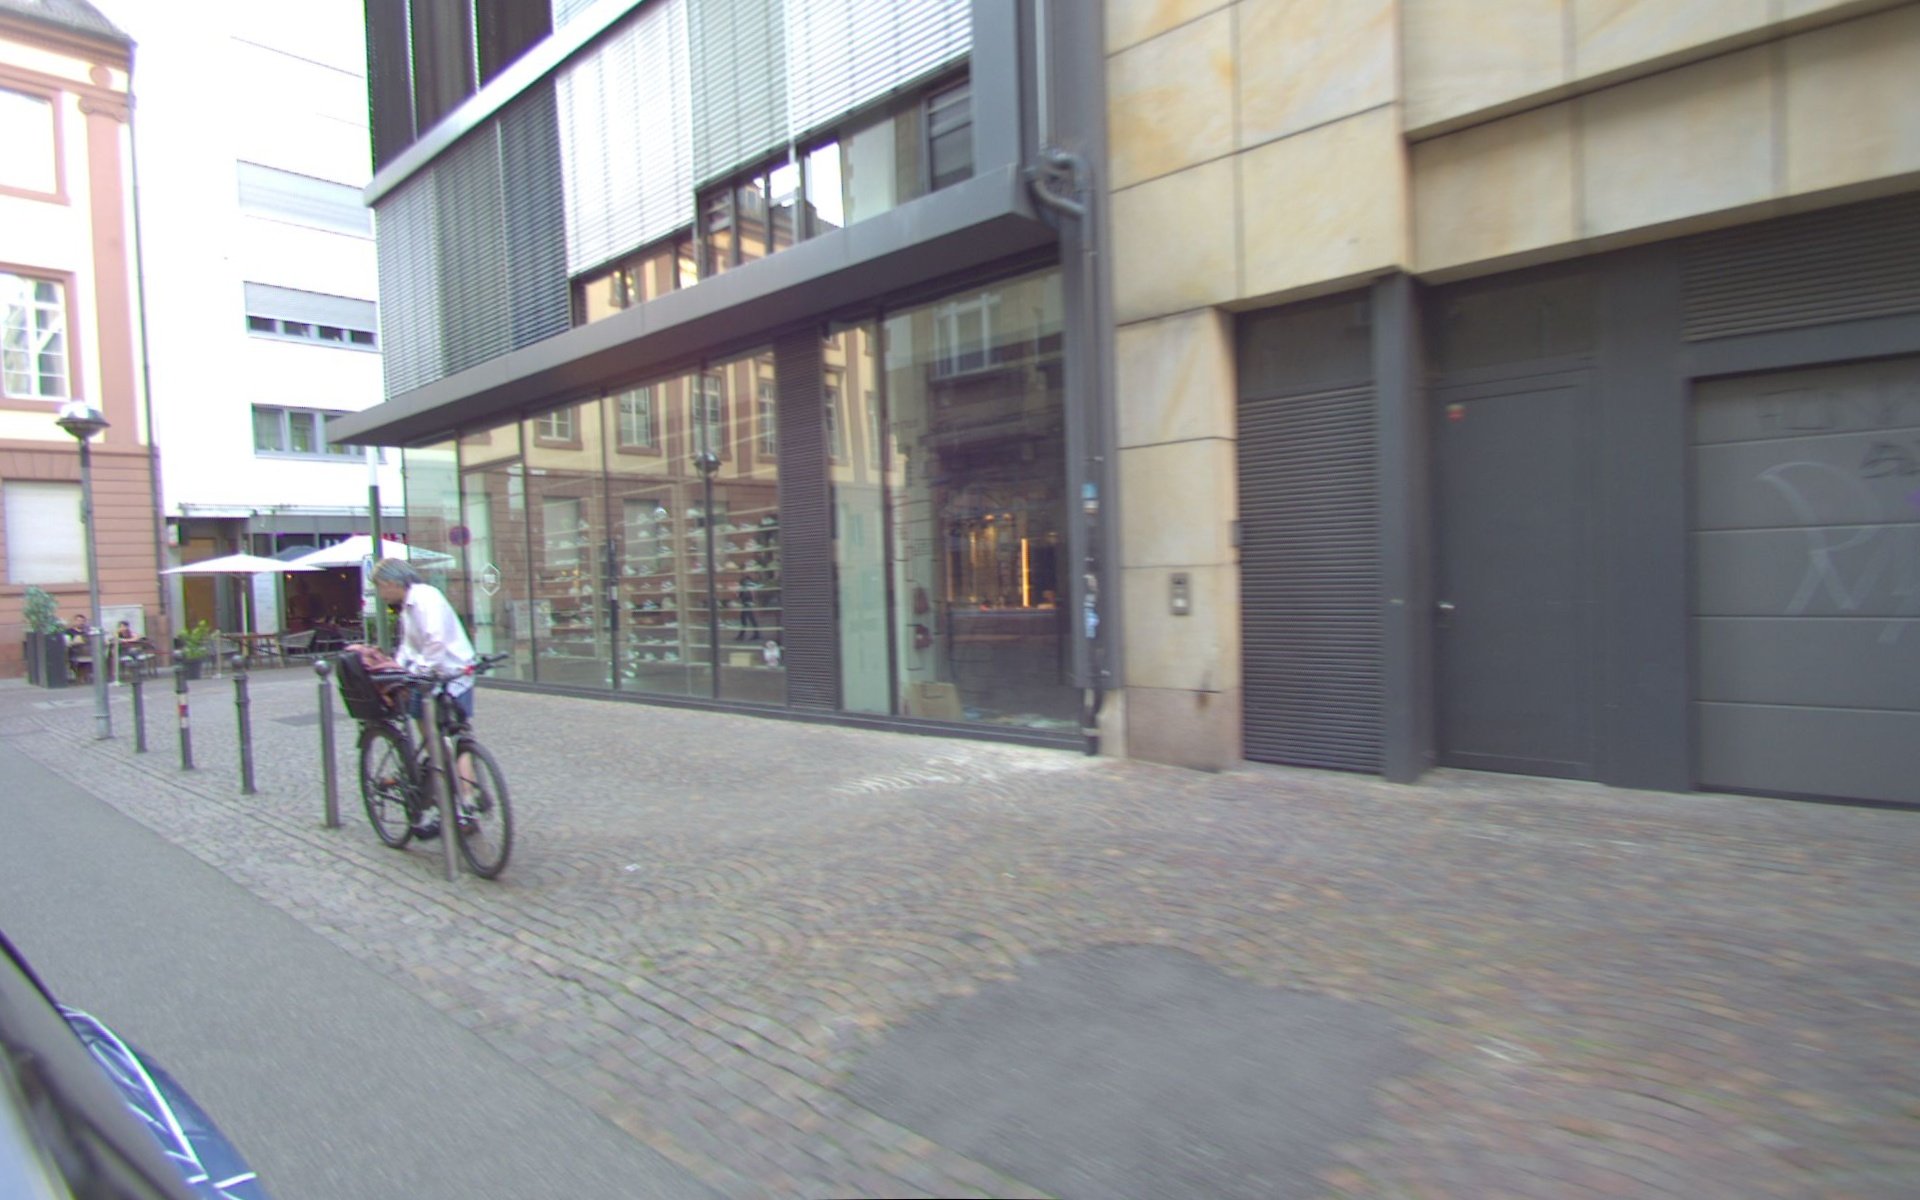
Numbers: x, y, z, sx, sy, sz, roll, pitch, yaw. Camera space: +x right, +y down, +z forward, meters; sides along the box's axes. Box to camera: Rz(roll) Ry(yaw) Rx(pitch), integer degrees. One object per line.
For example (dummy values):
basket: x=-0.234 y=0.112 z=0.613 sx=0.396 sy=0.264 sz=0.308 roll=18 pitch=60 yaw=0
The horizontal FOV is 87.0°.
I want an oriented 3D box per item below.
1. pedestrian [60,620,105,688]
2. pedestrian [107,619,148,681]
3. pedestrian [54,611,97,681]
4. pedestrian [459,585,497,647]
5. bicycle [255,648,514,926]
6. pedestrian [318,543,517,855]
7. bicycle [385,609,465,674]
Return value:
pedestrian: x=-16.630 y=1.012 z=19.172 sx=0.461 sy=1.220 sz=0.554 roll=-1 pitch=1 yaw=43
pedestrian: x=-16.992 y=1.011 z=20.648 sx=0.524 sy=1.220 sz=0.541 roll=-1 pitch=1 yaw=43
pedestrian: x=-17.702 y=0.916 z=20.257 sx=0.489 sy=1.359 sz=0.541 roll=-1 pitch=1 yaw=43
pedestrian: x=-13.507 y=0.444 z=28.366 sx=0.618 sy=1.678 sz=0.668 roll=-2 pitch=0 yaw=13
bicycle: x=-3.090 y=0.877 z=5.342 sx=1.914 sy=1.162 sz=0.527 roll=-1 pitch=3 yaw=42
pedestrian: x=-3.188 y=0.544 z=6.009 sx=0.585 sy=1.731 sz=0.768 roll=-3 pitch=2 yaw=10
bicycle: x=-10.038 y=0.783 z=18.979 sx=1.672 sy=1.121 sz=0.700 roll=-3 pitch=0 yaw=40
